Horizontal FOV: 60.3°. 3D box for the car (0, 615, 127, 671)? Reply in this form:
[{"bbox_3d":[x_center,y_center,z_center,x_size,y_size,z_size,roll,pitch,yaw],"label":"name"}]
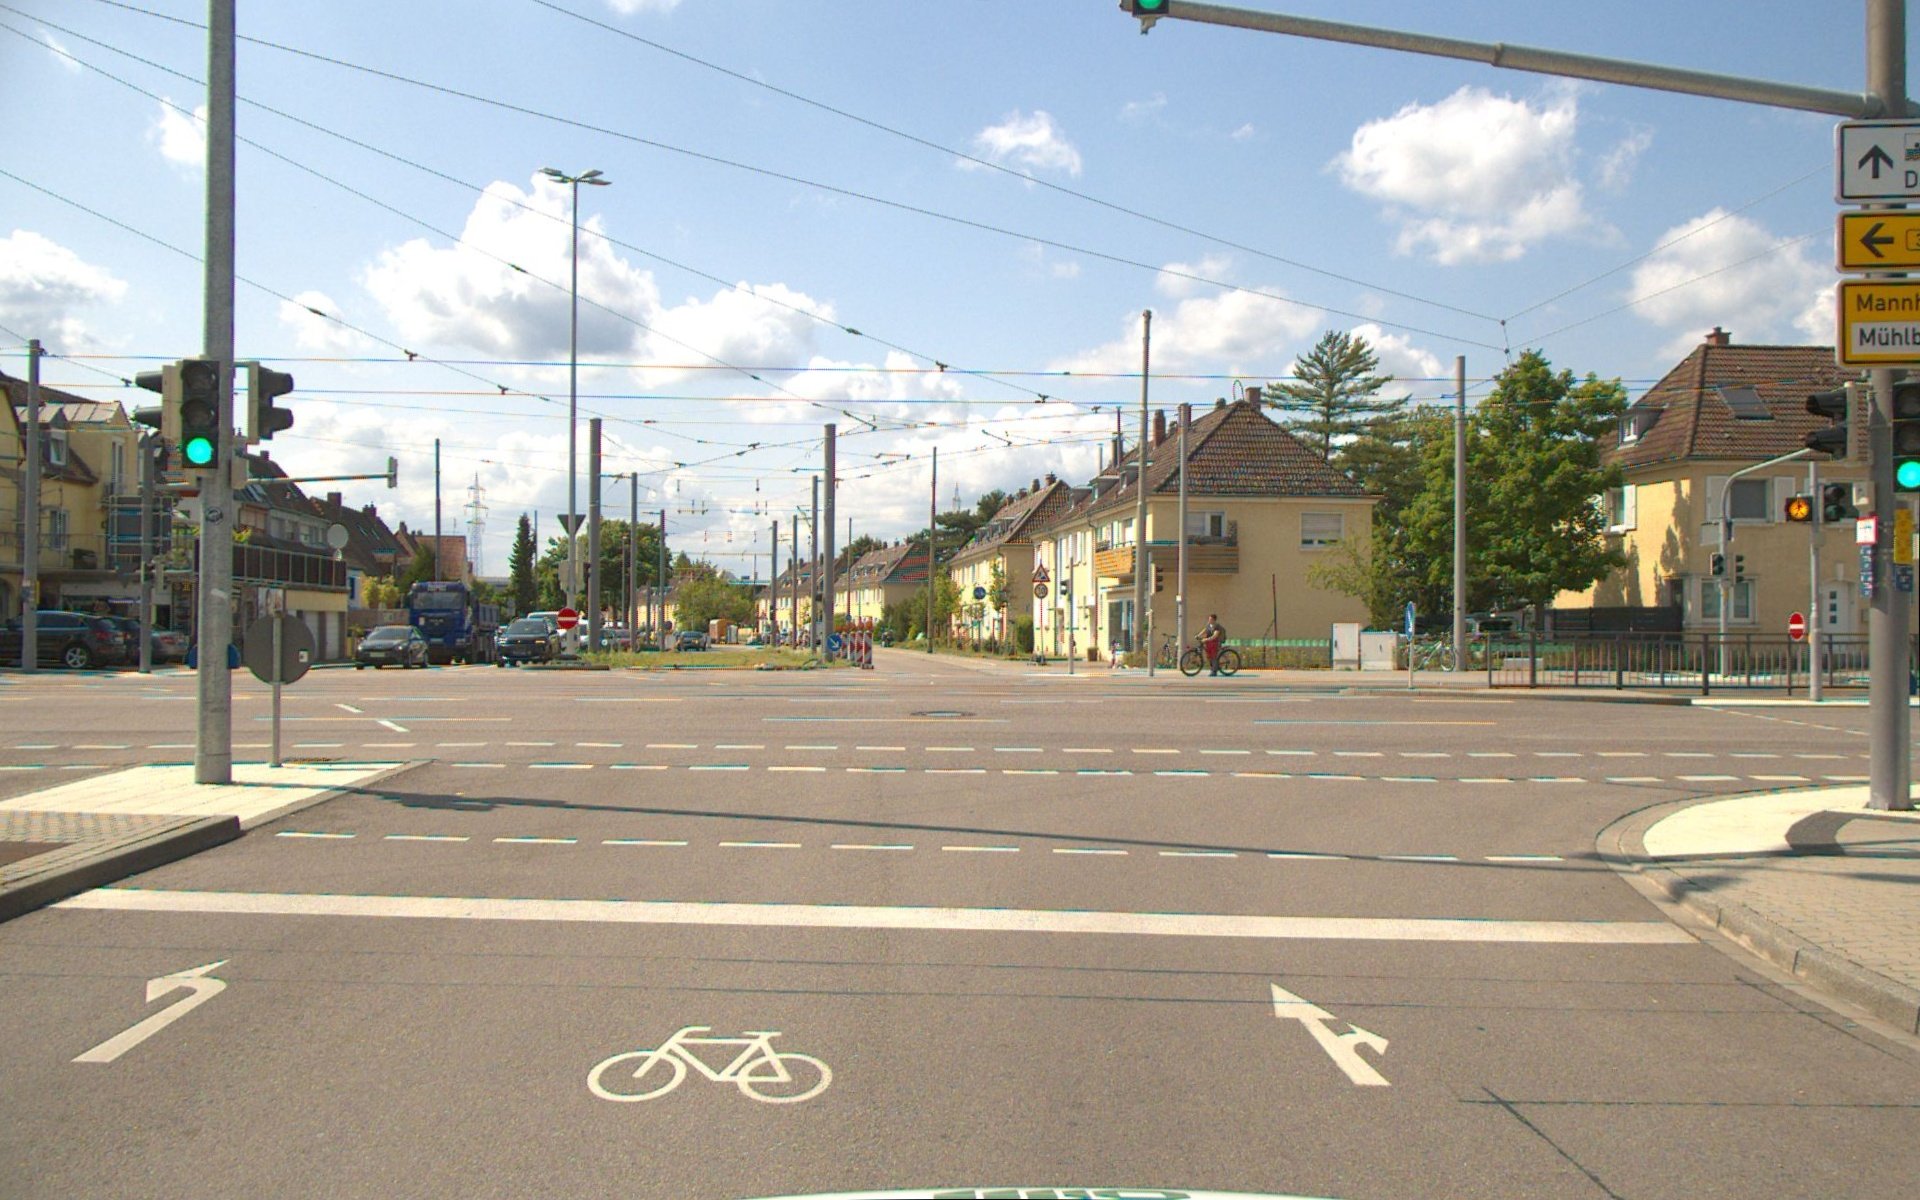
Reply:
[{"bbox_3d":[-26.888,1.241,48.614,4.058,1.519,1.177,2,-1,-9],"label":"car"}]

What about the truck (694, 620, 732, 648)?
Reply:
[{"bbox_3d":[-32.343,4.490,216.375,2.606,3.555,9.366,0,-1,-24],"label":"truck"}]

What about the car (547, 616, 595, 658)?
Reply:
[{"bbox_3d":[-17.125,1.634,72.995,1.700,1.813,4.395,0,-1,-9],"label":"car"}]

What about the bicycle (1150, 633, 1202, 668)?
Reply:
[{"bbox_3d":[7.106,1.648,54.538,0.586,1.116,2.257,1,-2,-26],"label":"bicycle"}]

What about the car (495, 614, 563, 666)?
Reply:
[{"bbox_3d":[-15.257,1.381,58.743,1.752,1.751,4.434,0,0,-7],"label":"car"}]

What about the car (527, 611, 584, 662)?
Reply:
[{"bbox_3d":[-15.886,1.432,65.148,1.781,1.955,4.738,0,-1,-9],"label":"car"}]

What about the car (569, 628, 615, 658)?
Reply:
[{"bbox_3d":[-17.743,2.067,79.924,1.879,1.444,3.992,0,-1,-9],"label":"car"}]

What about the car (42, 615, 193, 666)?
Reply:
[{"bbox_3d":[-27.449,1.331,53.991,4.058,1.519,1.432,2,-1,-9],"label":"car"}]

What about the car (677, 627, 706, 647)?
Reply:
[{"bbox_3d":[-22.094,3.051,136.198,1.782,1.579,4.000,0,0,0],"label":"car"}]

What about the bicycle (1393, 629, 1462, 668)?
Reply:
[{"bbox_3d":[13.544,1.399,47.942,1.773,1.124,0.699,-1,-1,38],"label":"bicycle"}]

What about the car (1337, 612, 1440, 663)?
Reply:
[{"bbox_3d":[14.216,1.280,55.077,1.789,1.649,3.989,0,-2,-10],"label":"car"}]

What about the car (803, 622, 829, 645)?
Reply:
[{"bbox_3d":[-13.680,3.169,156.457,2.028,2.187,4.866,0,-1,-10],"label":"car"}]

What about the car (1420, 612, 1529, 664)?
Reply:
[{"bbox_3d":[16.978,1.280,54.759,1.789,1.649,3.989,0,-2,-10],"label":"car"}]

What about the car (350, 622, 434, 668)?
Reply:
[{"bbox_3d":[-19.576,1.552,57.188,1.792,1.513,4.328,0,-1,-6],"label":"car"}]

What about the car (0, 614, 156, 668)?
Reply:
[{"bbox_3d":[-27.373,1.262,51.281,4.058,1.519,1.504,2,-1,-9],"label":"car"}]

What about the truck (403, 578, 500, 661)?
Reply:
[{"bbox_3d":[-21.024,0.862,68.777,2.717,3.244,7.566,0,-1,-9],"label":"truck"}]

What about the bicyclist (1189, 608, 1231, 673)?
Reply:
[{"bbox_3d":[7.085,1.145,46.814,0.944,1.806,0.714,1,-2,-23],"label":"bicyclist"}]

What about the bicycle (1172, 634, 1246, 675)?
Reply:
[{"bbox_3d":[7.036,1.532,46.764,2.000,1.121,0.710,1,-2,-24],"label":"bicycle"}]

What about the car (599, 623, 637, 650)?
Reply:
[{"bbox_3d":[-20.232,2.150,97.982,1.808,1.520,4.848,0,-1,-7],"label":"car"}]

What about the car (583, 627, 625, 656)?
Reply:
[{"bbox_3d":[-18.640,2.166,86.768,1.809,1.438,4.906,0,-1,-9],"label":"car"}]

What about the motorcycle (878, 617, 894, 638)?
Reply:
[{"bbox_3d":[-5.904,2.202,131.346,1.046,1.664,2.079,0,-1,-9],"label":"motorcycle"}]
